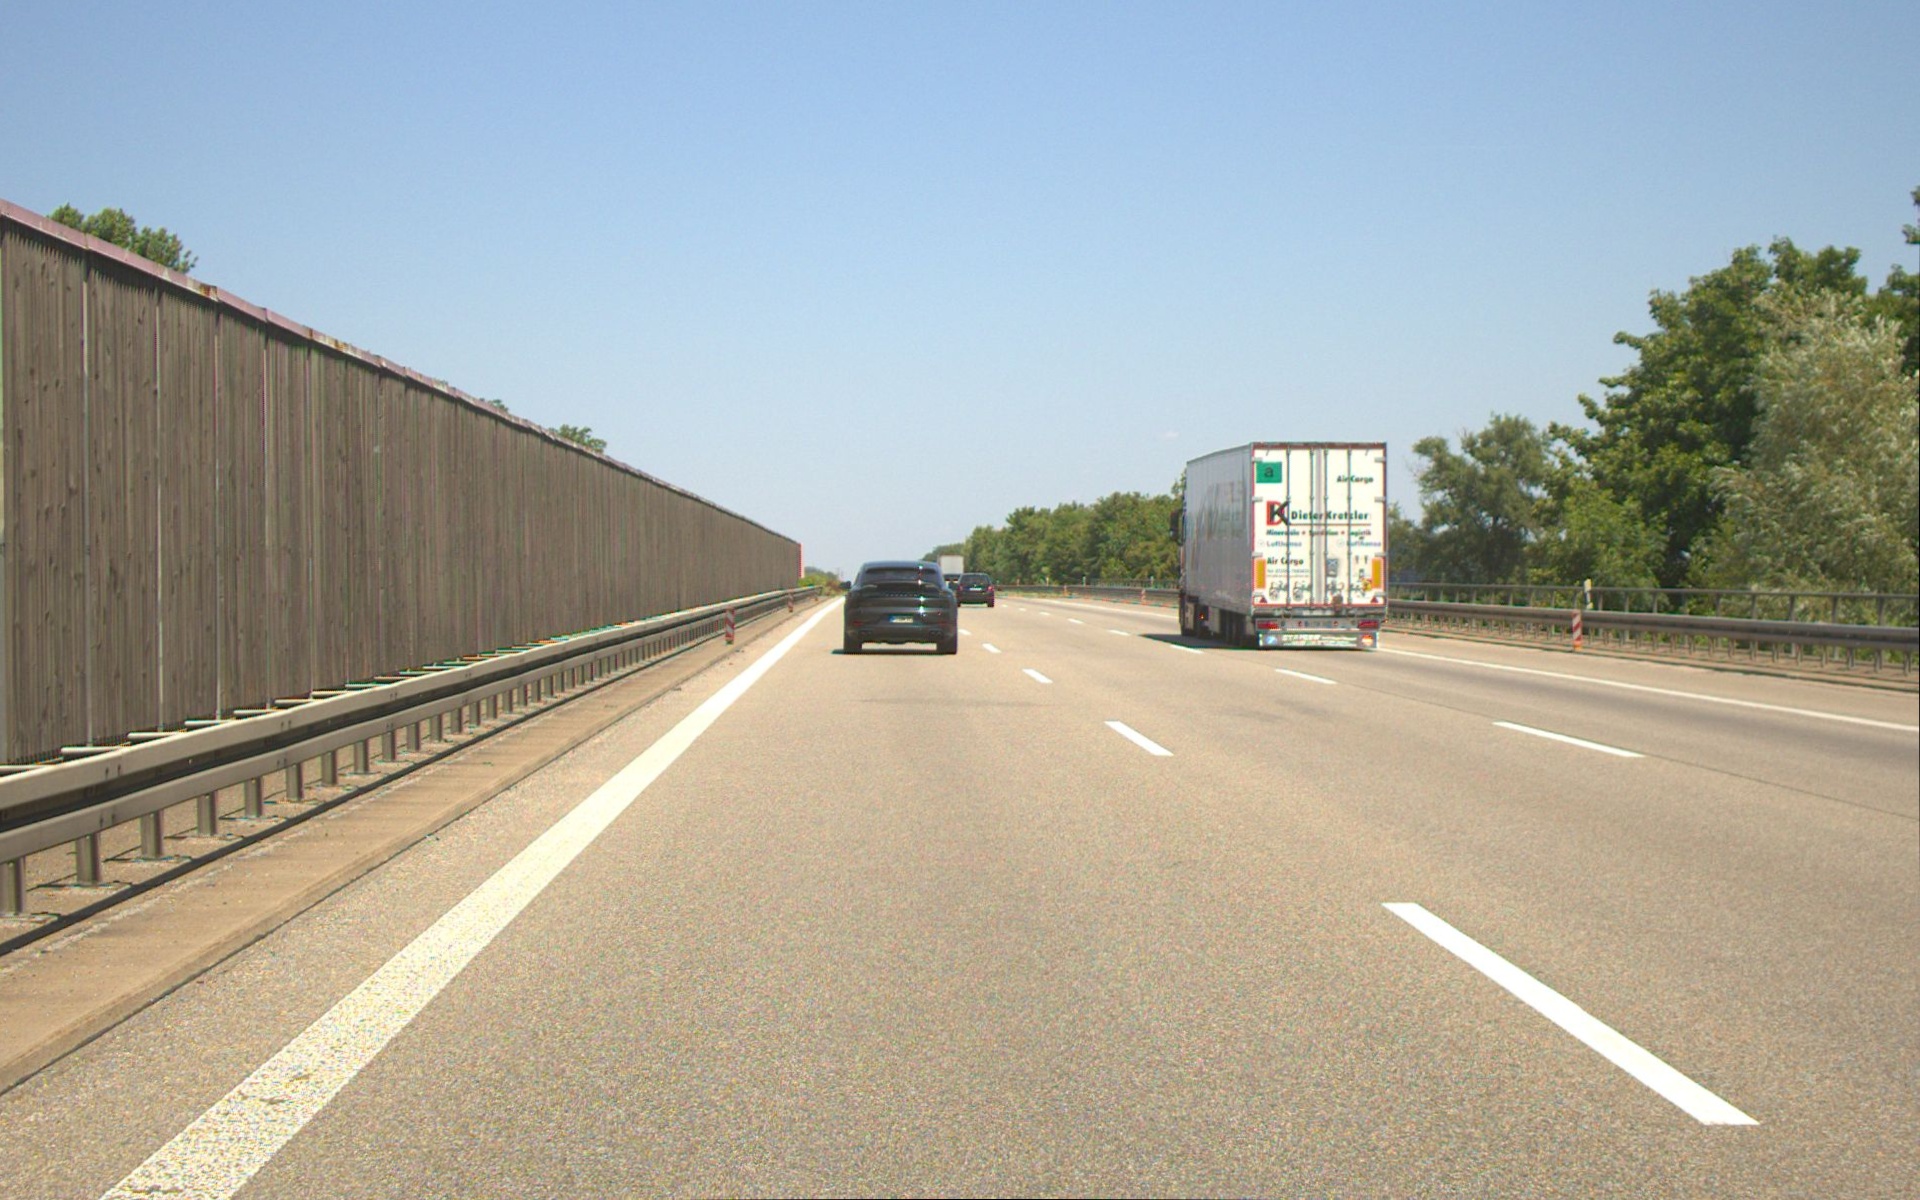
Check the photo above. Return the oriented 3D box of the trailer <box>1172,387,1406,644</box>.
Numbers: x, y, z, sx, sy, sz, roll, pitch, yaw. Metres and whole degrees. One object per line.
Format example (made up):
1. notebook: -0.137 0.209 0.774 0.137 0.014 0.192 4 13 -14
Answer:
1. trailer: 6.652 -1.671 71.895 3.269 4.821 14.030 1 1 -1

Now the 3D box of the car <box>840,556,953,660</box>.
1. car: -1.163 0.116 61.176 1.880 1.786 4.001 0 1 -3

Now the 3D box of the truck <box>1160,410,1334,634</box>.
1. truck: 6.498 -1.754 78.837 3.234 4.872 6.972 1 1 -1

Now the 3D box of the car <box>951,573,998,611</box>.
1. car: 0.622 -0.328 148.487 1.903 1.578 4.304 -1 0 -1
